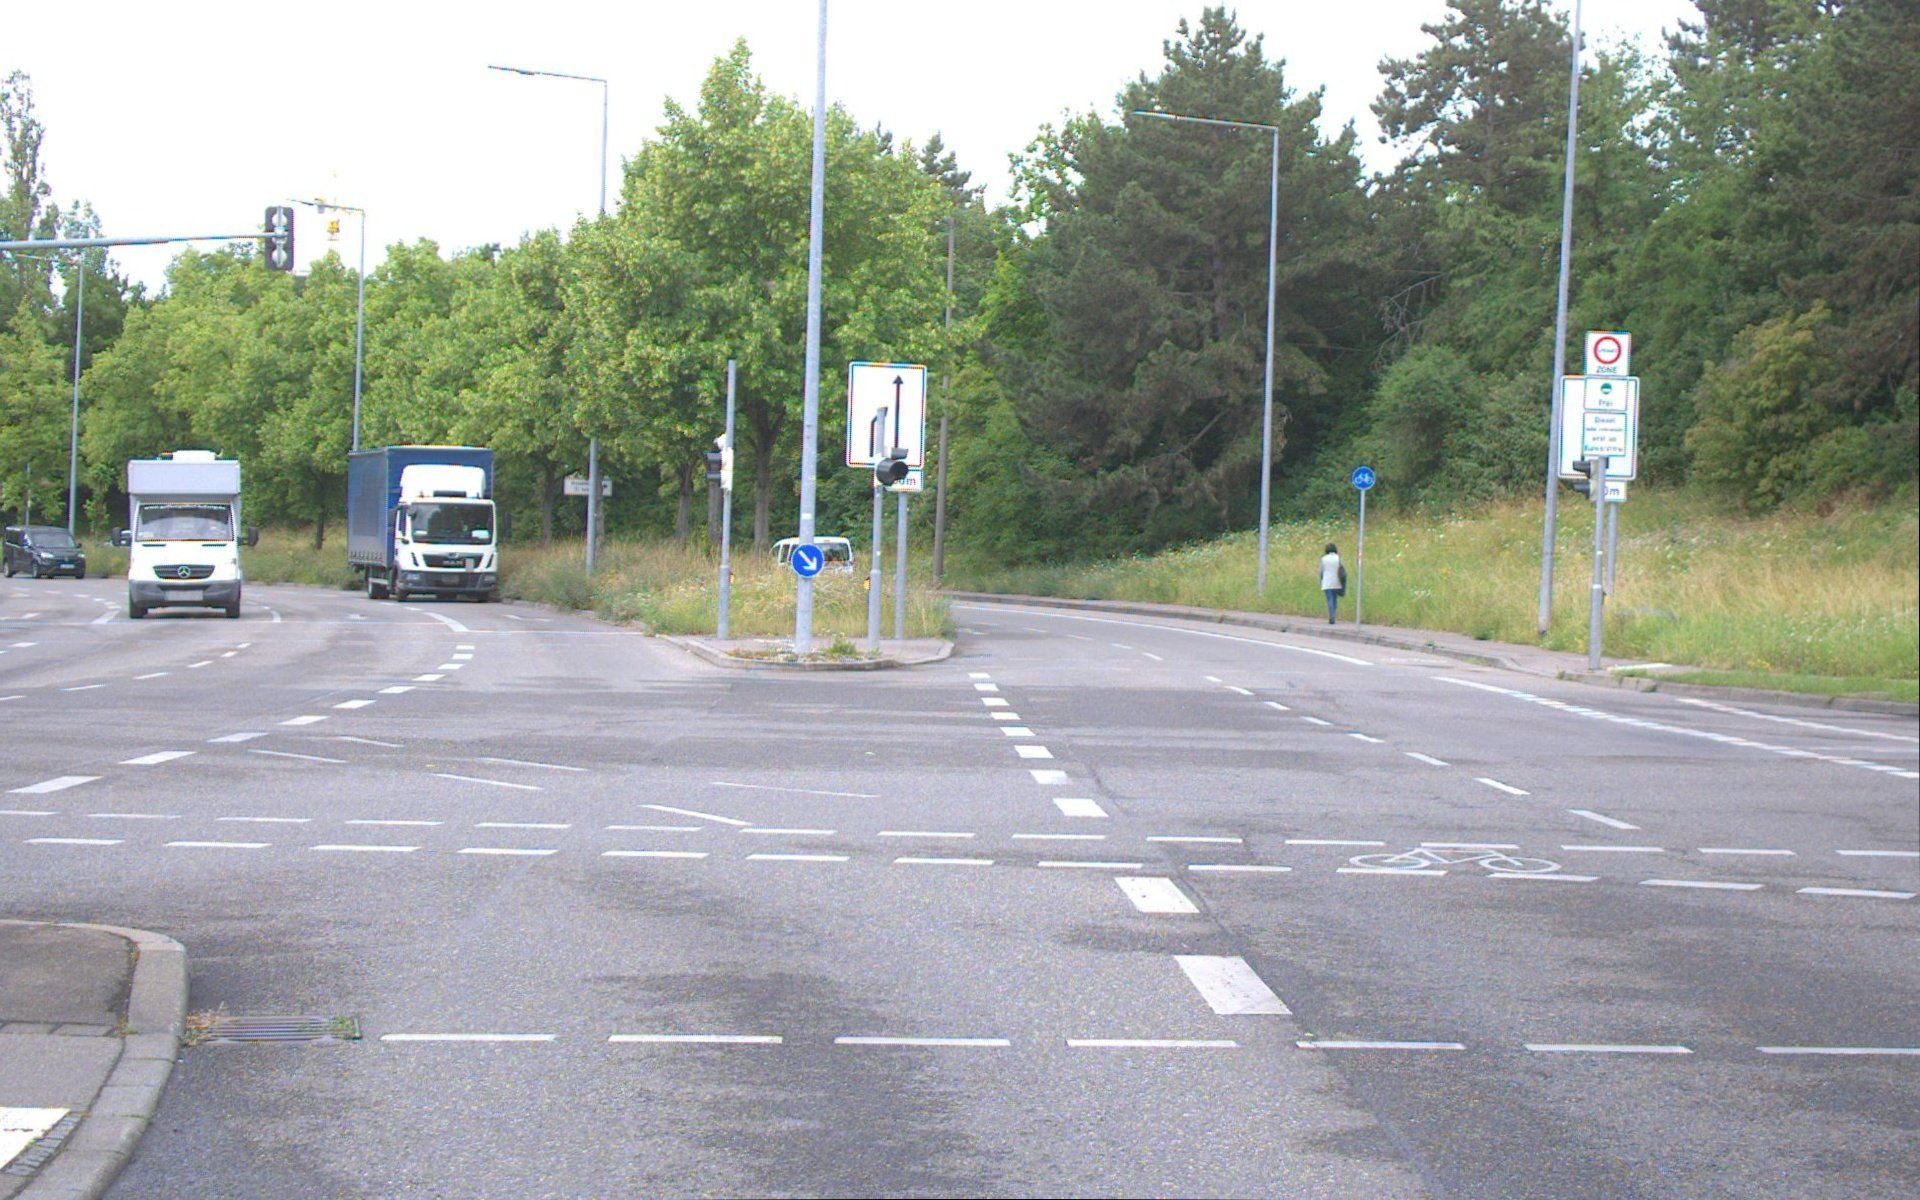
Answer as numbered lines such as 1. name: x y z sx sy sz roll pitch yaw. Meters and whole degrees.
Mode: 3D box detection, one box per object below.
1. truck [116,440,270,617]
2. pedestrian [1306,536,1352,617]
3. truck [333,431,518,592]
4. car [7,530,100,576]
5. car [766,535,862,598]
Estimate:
1. truck: -14.221 -1.298 64.016 2.115 3.124 5.901 1 1 -6
2. pedestrian: 7.521 -0.491 70.035 0.814 1.622 0.791 1 1 -1
3. truck: -13.746 -2.171 87.390 3.048 3.747 12.817 1 1 -16
4. car: -31.912 -1.676 120.960 1.781 1.441 4.528 -2 4 -34
5. car: -4.302 -0.978 100.283 1.994 1.796 4.840 0 0 -12
